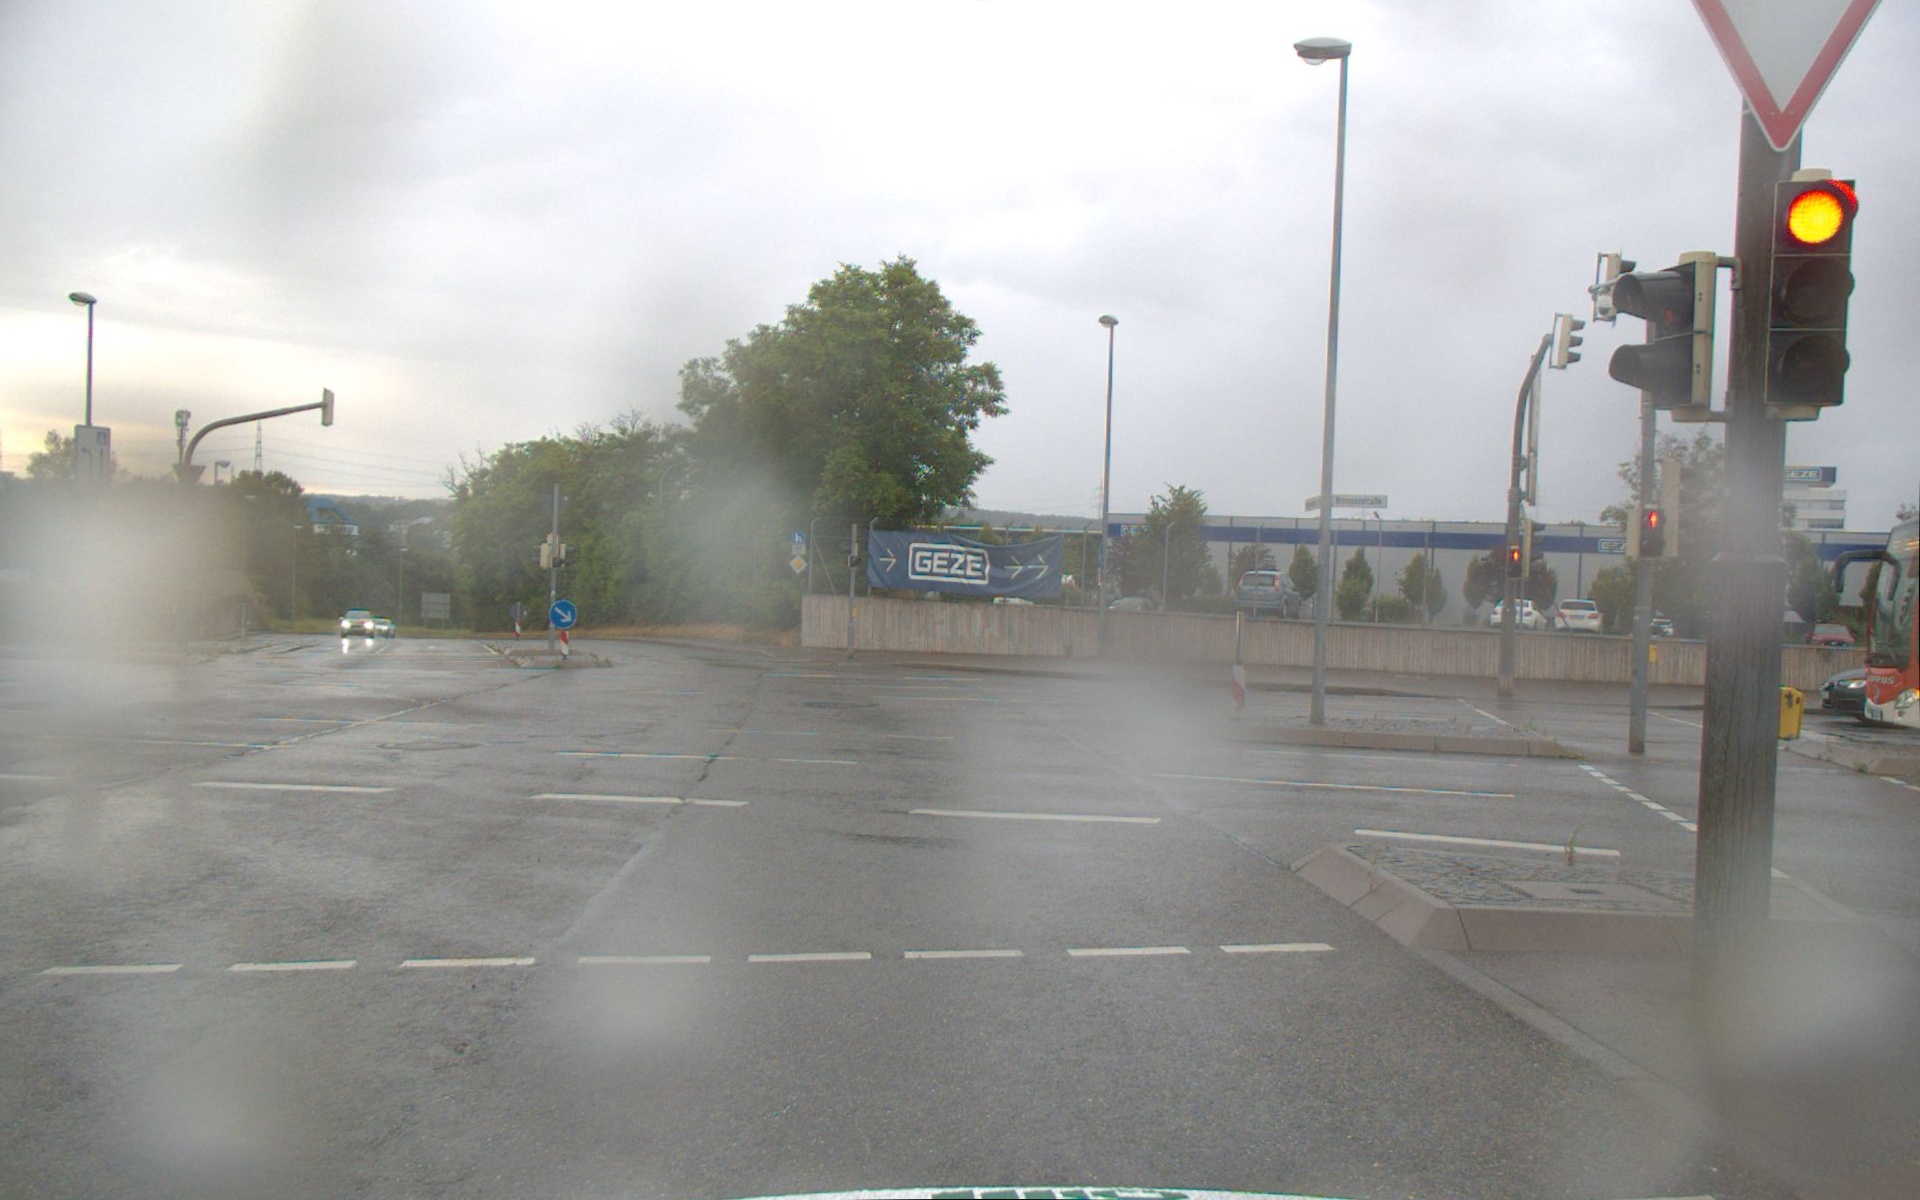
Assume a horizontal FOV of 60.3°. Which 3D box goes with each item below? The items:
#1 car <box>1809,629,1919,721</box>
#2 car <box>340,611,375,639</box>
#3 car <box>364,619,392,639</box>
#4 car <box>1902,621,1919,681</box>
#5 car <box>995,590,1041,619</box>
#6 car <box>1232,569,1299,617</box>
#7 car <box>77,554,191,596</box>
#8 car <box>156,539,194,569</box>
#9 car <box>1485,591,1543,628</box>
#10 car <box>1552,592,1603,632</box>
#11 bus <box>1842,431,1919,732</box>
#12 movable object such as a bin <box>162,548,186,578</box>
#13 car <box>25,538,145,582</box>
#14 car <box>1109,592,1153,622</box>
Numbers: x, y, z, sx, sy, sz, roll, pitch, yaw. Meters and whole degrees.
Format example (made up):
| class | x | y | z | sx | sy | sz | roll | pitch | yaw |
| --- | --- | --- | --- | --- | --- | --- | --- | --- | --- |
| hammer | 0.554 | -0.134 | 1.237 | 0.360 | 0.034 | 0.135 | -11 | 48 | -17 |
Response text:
| class | x | y | z | sx | sy | sz | roll | pitch | yaw |
| --- | --- | --- | --- | --- | --- | --- | --- | --- | --- |
| car | 16.278 | 1.246 | 26.681 | 4.286 | 1.378 | 1.827 | 2 | 0 | 16 |
| car | -33.117 | 1.361 | 90.847 | 1.638 | 1.521 | 3.973 | 1 | -1 | -22 |
| car | -47.667 | 2.362 | 135.443 | 1.690 | 1.521 | 3.986 | 1 | -1 | -13 |
| car | 34.433 | 1.787 | 58.089 | 1.707 | 2.049 | 3.824 | 1 | 0 | 20 |
| car | 3.357 | 0.294 | 95.948 | 1.632 | 1.634 | 3.531 | 1 | 0 | 20 |
| car | 10.655 | -0.220 | 57.601 | 1.707 | 1.580 | 3.531 | 1 | 0 | 20 |
| car | -35.119 | -1.048 | 70.361 | 3.902 | 1.614 | 1.903 | 1 | -2 | 12 |
| car | -44.803 | -2.602 | 94.336 | 1.806 | 1.467 | 3.964 | 3 | -2 | -27 |
| car | 23.040 | 0.412 | 68.698 | 1.781 | 1.459 | 4.100 | 1 | 0 | 25 |
| car | 25.456 | 0.497 | 68.103 | 1.820 | 1.552 | 4.103 | 1 | 0 | 22 |
| bus | 17.659 | 0.093 | 19.835 | 11.995 | 3.638 | 2.988 | 3 | 0 | 17 |
| movable object such as a bin | -40.957 | -1.913 | 86.166 | 1.071 | 1.462 | 1.434 | 3 | -2 | -27 |
| car | -35.844 | -1.625 | 67.826 | 3.902 | 1.614 | 1.903 | 1 | -2 | 8 |
| car | 9.593 | 0.388 | 92.740 | 1.632 | 1.634 | 3.531 | 1 | 0 | 20 |
